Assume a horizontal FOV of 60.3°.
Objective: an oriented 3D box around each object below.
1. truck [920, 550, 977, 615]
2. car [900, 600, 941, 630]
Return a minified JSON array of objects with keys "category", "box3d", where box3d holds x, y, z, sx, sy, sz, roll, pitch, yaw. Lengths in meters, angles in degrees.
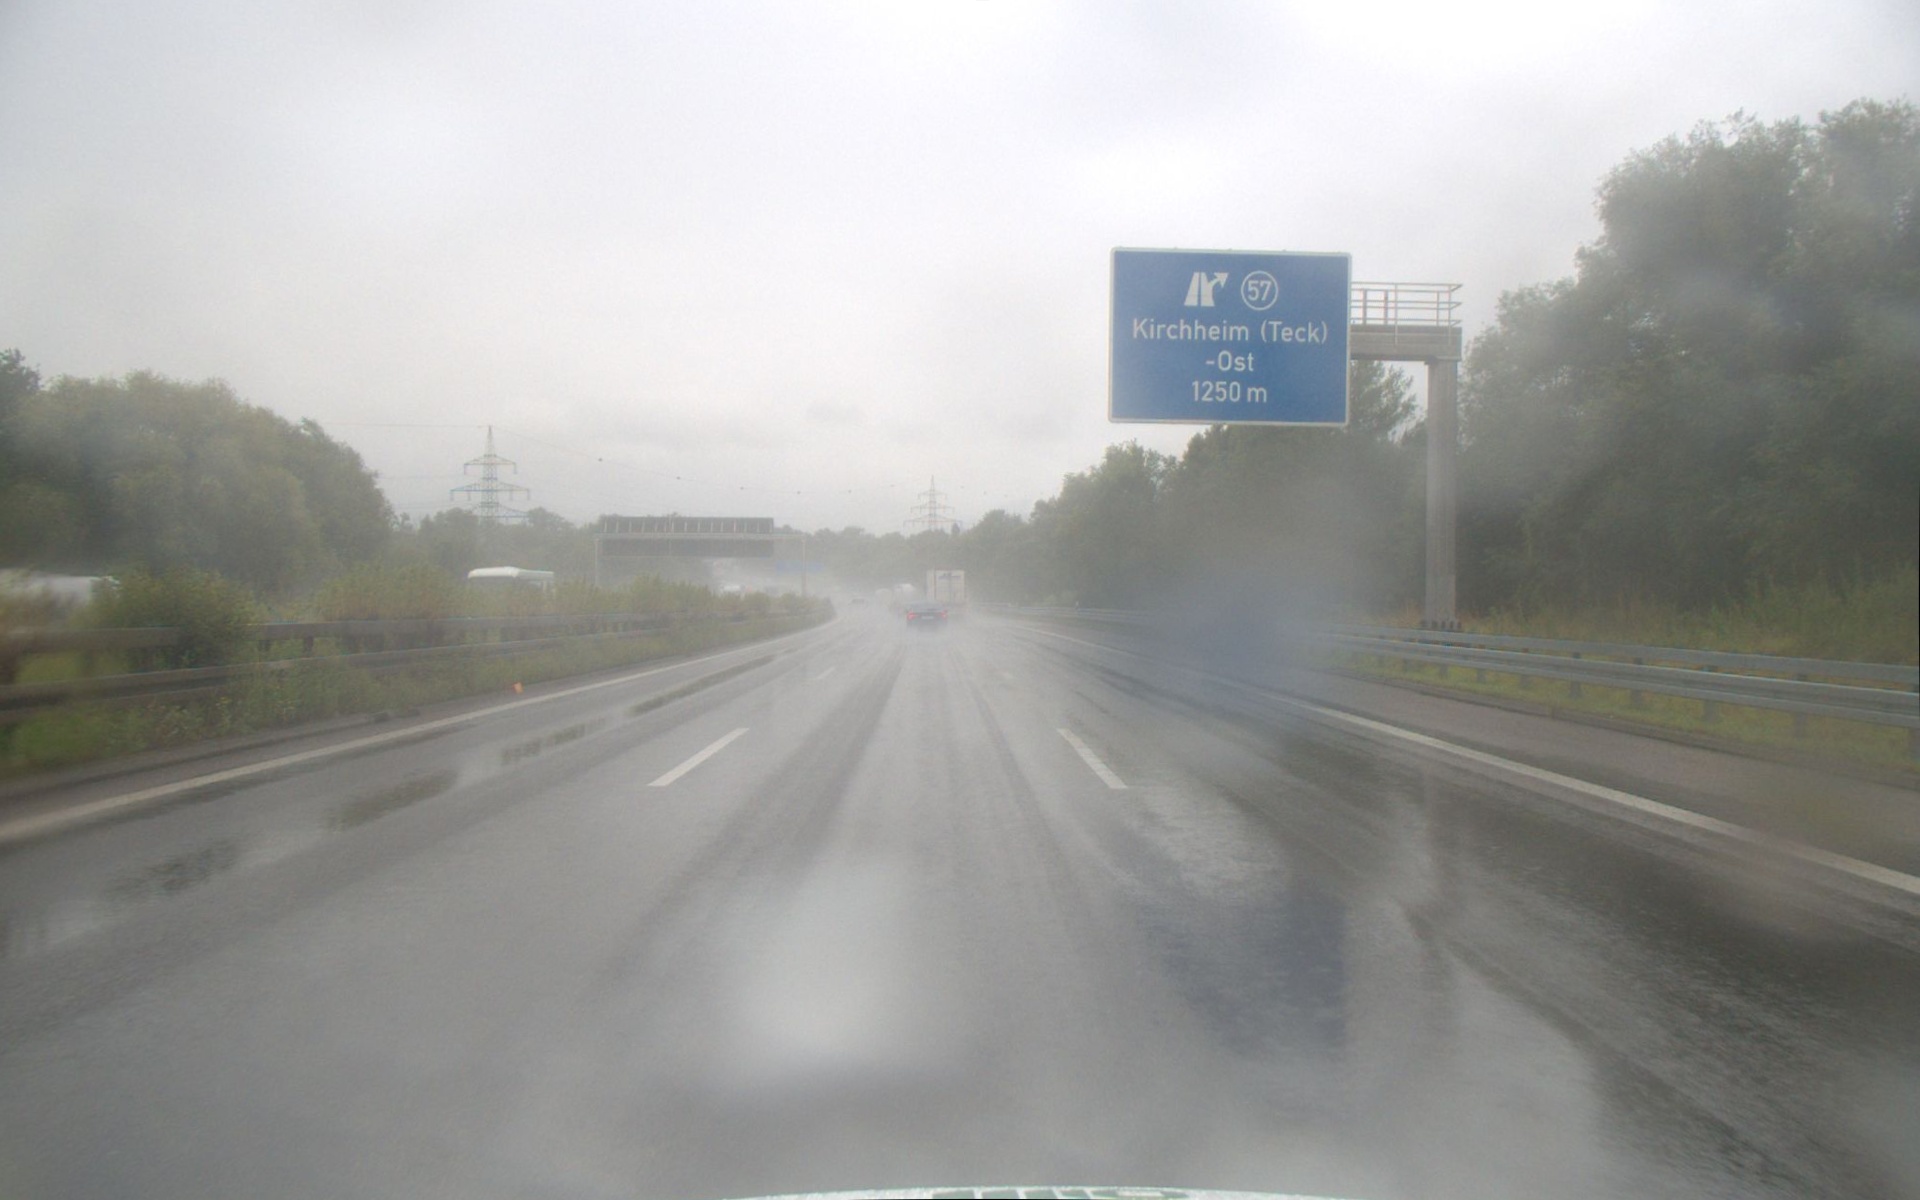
[{"category":"truck","box3d":[-1.139,-1.489,140.757,4.171,5.058,17.333,-2,1,-2]},{"category":"car","box3d":[-1.720,0.633,71.711,1.713,1.233,3.999,1,0,-1]}]
